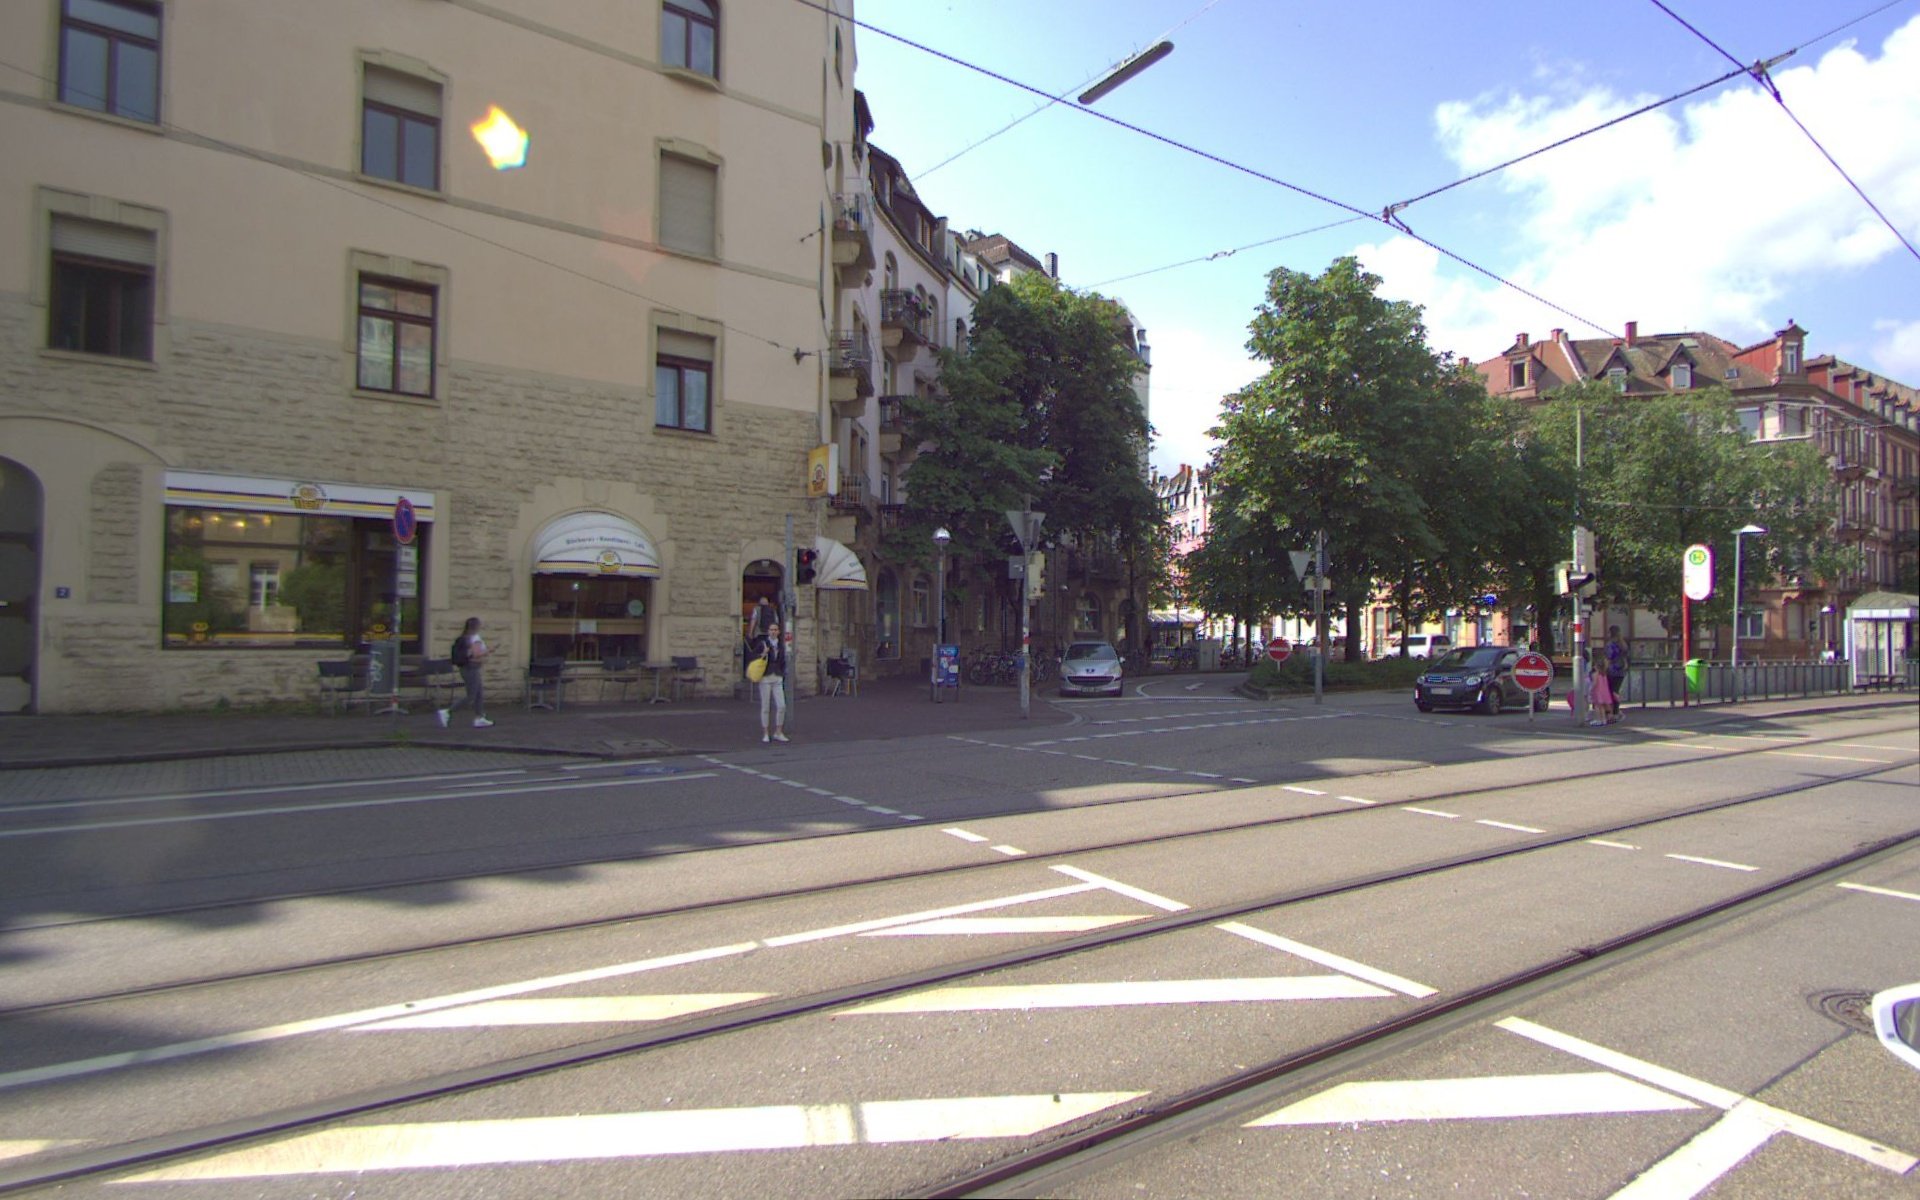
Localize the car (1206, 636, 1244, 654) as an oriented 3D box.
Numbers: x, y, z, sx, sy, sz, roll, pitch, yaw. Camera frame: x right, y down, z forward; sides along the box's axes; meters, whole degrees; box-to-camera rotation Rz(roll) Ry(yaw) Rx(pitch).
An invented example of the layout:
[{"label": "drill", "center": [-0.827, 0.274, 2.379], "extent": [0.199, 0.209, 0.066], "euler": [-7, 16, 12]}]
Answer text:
[{"label": "car", "center": [23.323, 3.958, 88.514], "extent": [1.687, 1.575, 3.912], "euler": [1, -2, -12]}]

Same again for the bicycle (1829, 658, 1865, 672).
[{"label": "bicycle", "center": [50.039, 3.645, 56.676], "extent": [1.677, 0.757, 0.386], "euler": [1, -2, 2]}]

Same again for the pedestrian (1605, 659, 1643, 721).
[{"label": "pedestrian", "center": [12.198, 1.649, 18.466], "extent": [0.420, 1.122, 0.434], "euler": [2, -4, -39]}]

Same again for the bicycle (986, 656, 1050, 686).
[{"label": "bicycle", "center": [1.874, 2.295, 32.644], "extent": [1.990, 0.894, 0.512], "euler": [2, -2, 12]}]

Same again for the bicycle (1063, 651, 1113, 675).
[{"label": "bicycle", "center": [5.442, 2.683, 42.741], "extent": [1.993, 0.910, 0.571], "euler": [1, -2, 26]}]

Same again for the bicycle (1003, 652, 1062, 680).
[{"label": "bicycle", "center": [2.566, 2.344, 35.637], "extent": [1.990, 0.894, 0.547], "euler": [2, -2, 12]}]

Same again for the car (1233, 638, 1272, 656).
[{"label": "car", "center": [24.376, 3.908, 83.807], "extent": [1.602, 1.513, 3.638], "euler": [1, -2, -13]}]

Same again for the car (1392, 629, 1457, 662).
[{"label": "car", "center": [29.276, 2.851, 63.450], "extent": [1.823, 2.015, 3.941], "euler": [1, -2, -10]}]

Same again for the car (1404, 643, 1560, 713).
[{"label": "car", "center": [11.471, 1.670, 22.040], "extent": [3.401, 1.405, 1.615], "euler": [2, -3, -34]}]

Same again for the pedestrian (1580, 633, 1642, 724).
[{"label": "pedestrian", "center": [11.718, 1.392, 18.072], "extent": [0.792, 1.586, 0.722], "euler": [2, -2, -39]}]

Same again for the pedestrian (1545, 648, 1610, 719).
[{"label": "pedestrian", "center": [11.730, 1.576, 19.099], "extent": [0.711, 1.320, 0.819], "euler": [2, -4, -39]}]

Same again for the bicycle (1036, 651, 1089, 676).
[{"label": "bicycle", "center": [4.088, 2.527, 40.018], "extent": [1.991, 0.910, 0.546], "euler": [1, -2, 22]}]

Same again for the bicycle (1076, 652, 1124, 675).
[{"label": "bicycle", "center": [6.101, 2.752, 43.926], "extent": [1.994, 0.910, 0.571], "euler": [1, -2, 29]}]

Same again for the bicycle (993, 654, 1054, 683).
[{"label": "bicycle", "center": [2.139, 2.321, 33.972], "extent": [1.990, 0.894, 0.512], "euler": [2, -2, 12]}]

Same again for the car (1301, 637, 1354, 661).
[{"label": "car", "center": [26.713, 3.513, 73.074], "extent": [1.882, 1.685, 3.933], "euler": [1, -2, -11]}]

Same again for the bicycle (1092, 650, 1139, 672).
[{"label": "bicycle", "center": [6.977, 2.727, 45.042], "extent": [1.994, 0.910, 0.571], "euler": [1, -2, 29]}]

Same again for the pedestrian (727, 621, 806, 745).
[{"label": "pedestrian", "center": [-2.874, 1.204, 14.926], "extent": [0.865, 1.727, 0.751], "euler": [2, 2, -35]}]

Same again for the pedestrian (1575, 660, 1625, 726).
[{"label": "pedestrian", "center": [11.294, 1.626, 17.735], "extent": [0.440, 1.128, 0.636], "euler": [2, -2, -38]}]

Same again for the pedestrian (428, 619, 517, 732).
[{"label": "pedestrian", "center": [-7.203, 1.082, 14.844], "extent": [0.686, 1.562, 0.958], "euler": [4, 2, 43]}]

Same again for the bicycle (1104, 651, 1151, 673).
[{"label": "bicycle", "center": [7.607, 2.805, 45.688], "extent": [1.994, 0.910, 0.571], "euler": [1, -2, 29]}]

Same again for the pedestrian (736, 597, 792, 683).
[{"label": "pedestrian", "center": [-3.982, 0.806, 20.430], "extent": [0.849, 1.694, 0.814], "euler": [2, -2, -35]}]

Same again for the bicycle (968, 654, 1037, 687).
[{"label": "bicycle", "center": [1.282, 2.106, 30.129], "extent": [1.990, 0.894, 0.523], "euler": [2, -2, 12]}]

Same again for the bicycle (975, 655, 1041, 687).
[{"label": "bicycle", "center": [1.515, 2.223, 31.459], "extent": [1.990, 0.894, 0.512], "euler": [2, -2, 12]}]

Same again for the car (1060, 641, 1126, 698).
[{"label": "car", "center": [3.736, 1.866, 27.822], "extent": [1.686, 1.438, 3.877], "euler": [0, -2, 9]}]
